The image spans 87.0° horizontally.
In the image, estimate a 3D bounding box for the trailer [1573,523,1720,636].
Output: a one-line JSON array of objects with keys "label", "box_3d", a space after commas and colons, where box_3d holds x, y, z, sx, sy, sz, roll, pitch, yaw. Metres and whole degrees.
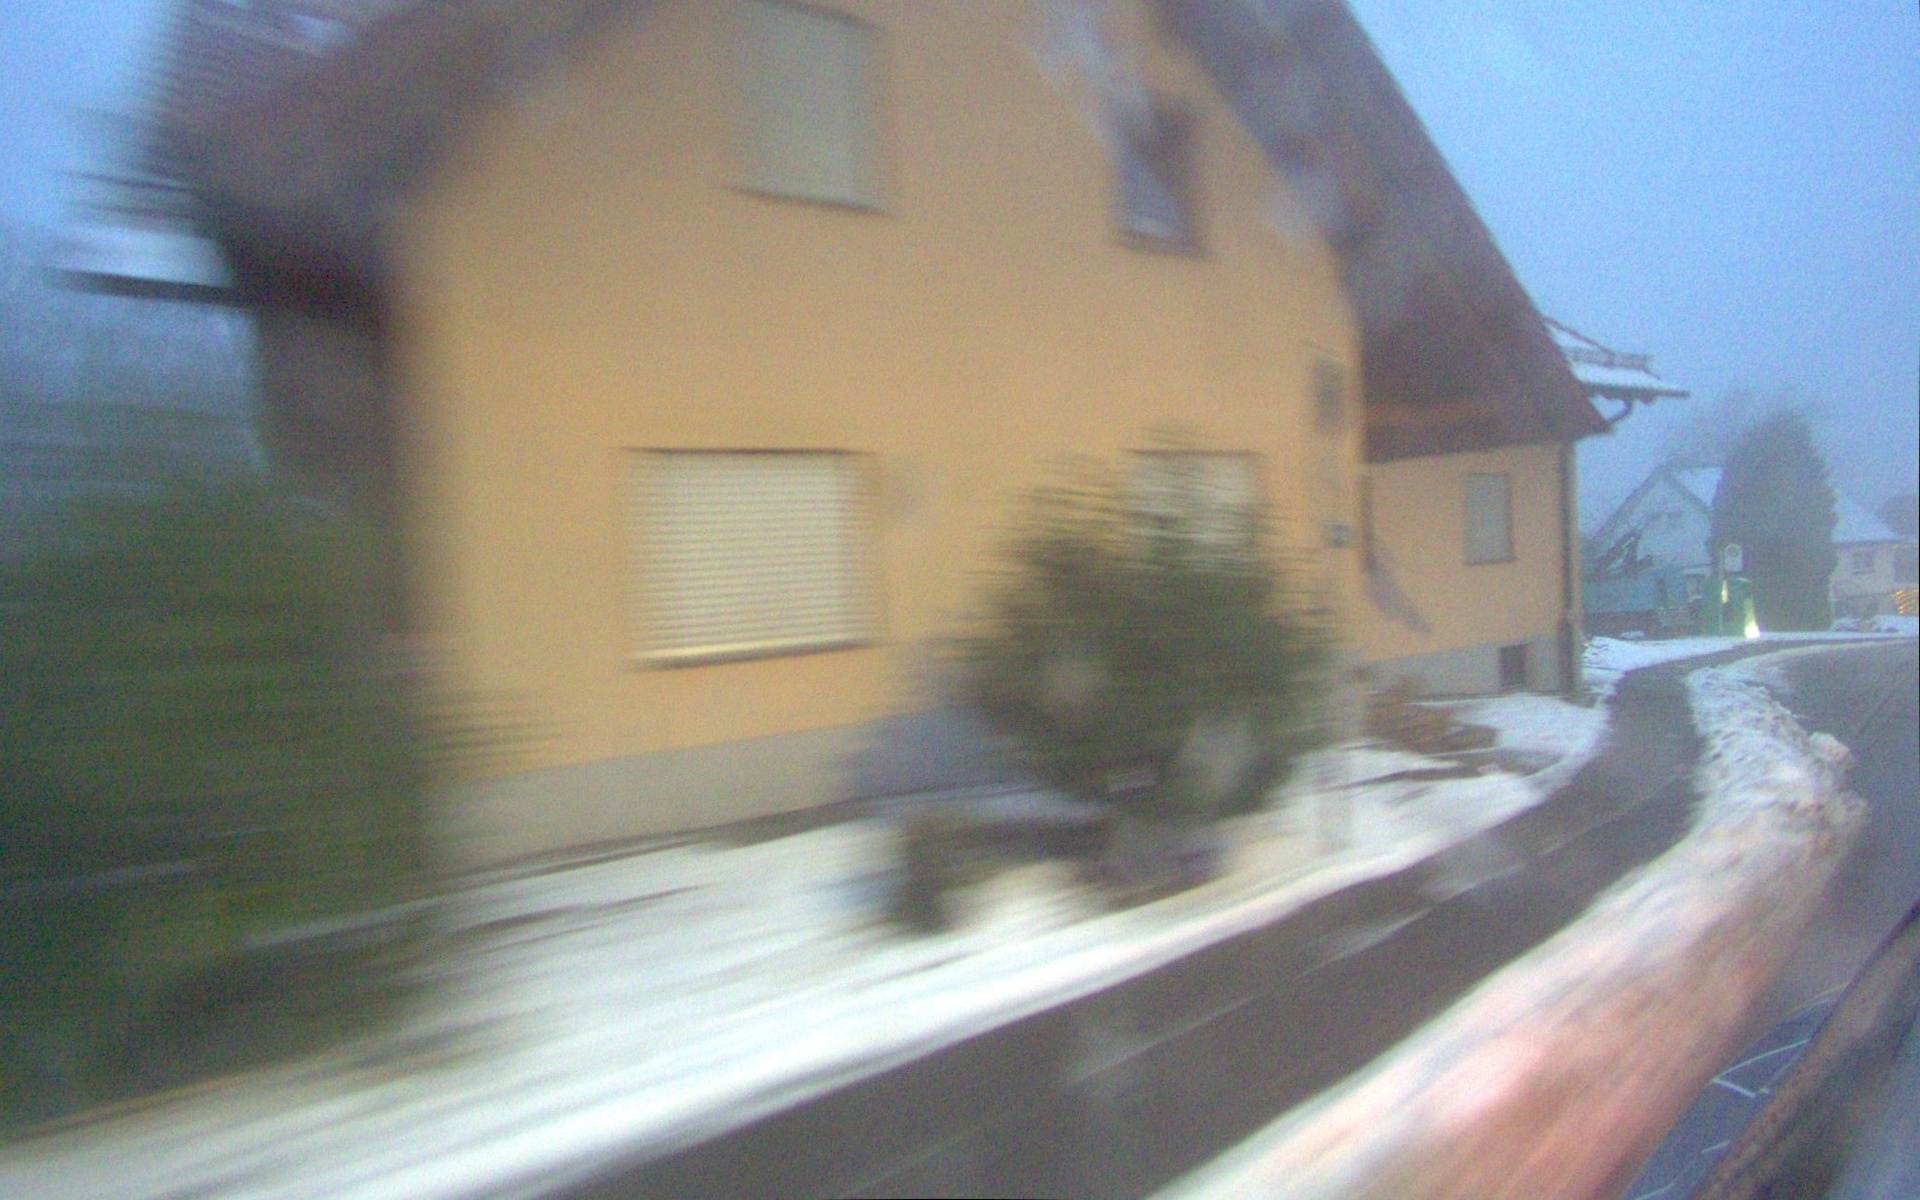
[{"label": "trailer", "box_3d": [23.712, -0.725, 34.907, 4.971, 3.605, 2.881, -2, 1, -39]}]

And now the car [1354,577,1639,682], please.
[{"label": "car", "box_3d": [9.615, 0.420, 18.446, 1.909, 1.578, 4.174, -1, 3, -34]}]

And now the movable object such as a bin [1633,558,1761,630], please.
[{"label": "movable object such as a bin", "box_3d": [27.377, -0.261, 37.576, 4.428, 2.499, 2.396, -2, 1, -33]}]

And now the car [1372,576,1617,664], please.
[{"label": "car", "box_3d": [11.294, 0.331, 21.719, 1.960, 1.578, 4.263, -1, 3, -29]}]
